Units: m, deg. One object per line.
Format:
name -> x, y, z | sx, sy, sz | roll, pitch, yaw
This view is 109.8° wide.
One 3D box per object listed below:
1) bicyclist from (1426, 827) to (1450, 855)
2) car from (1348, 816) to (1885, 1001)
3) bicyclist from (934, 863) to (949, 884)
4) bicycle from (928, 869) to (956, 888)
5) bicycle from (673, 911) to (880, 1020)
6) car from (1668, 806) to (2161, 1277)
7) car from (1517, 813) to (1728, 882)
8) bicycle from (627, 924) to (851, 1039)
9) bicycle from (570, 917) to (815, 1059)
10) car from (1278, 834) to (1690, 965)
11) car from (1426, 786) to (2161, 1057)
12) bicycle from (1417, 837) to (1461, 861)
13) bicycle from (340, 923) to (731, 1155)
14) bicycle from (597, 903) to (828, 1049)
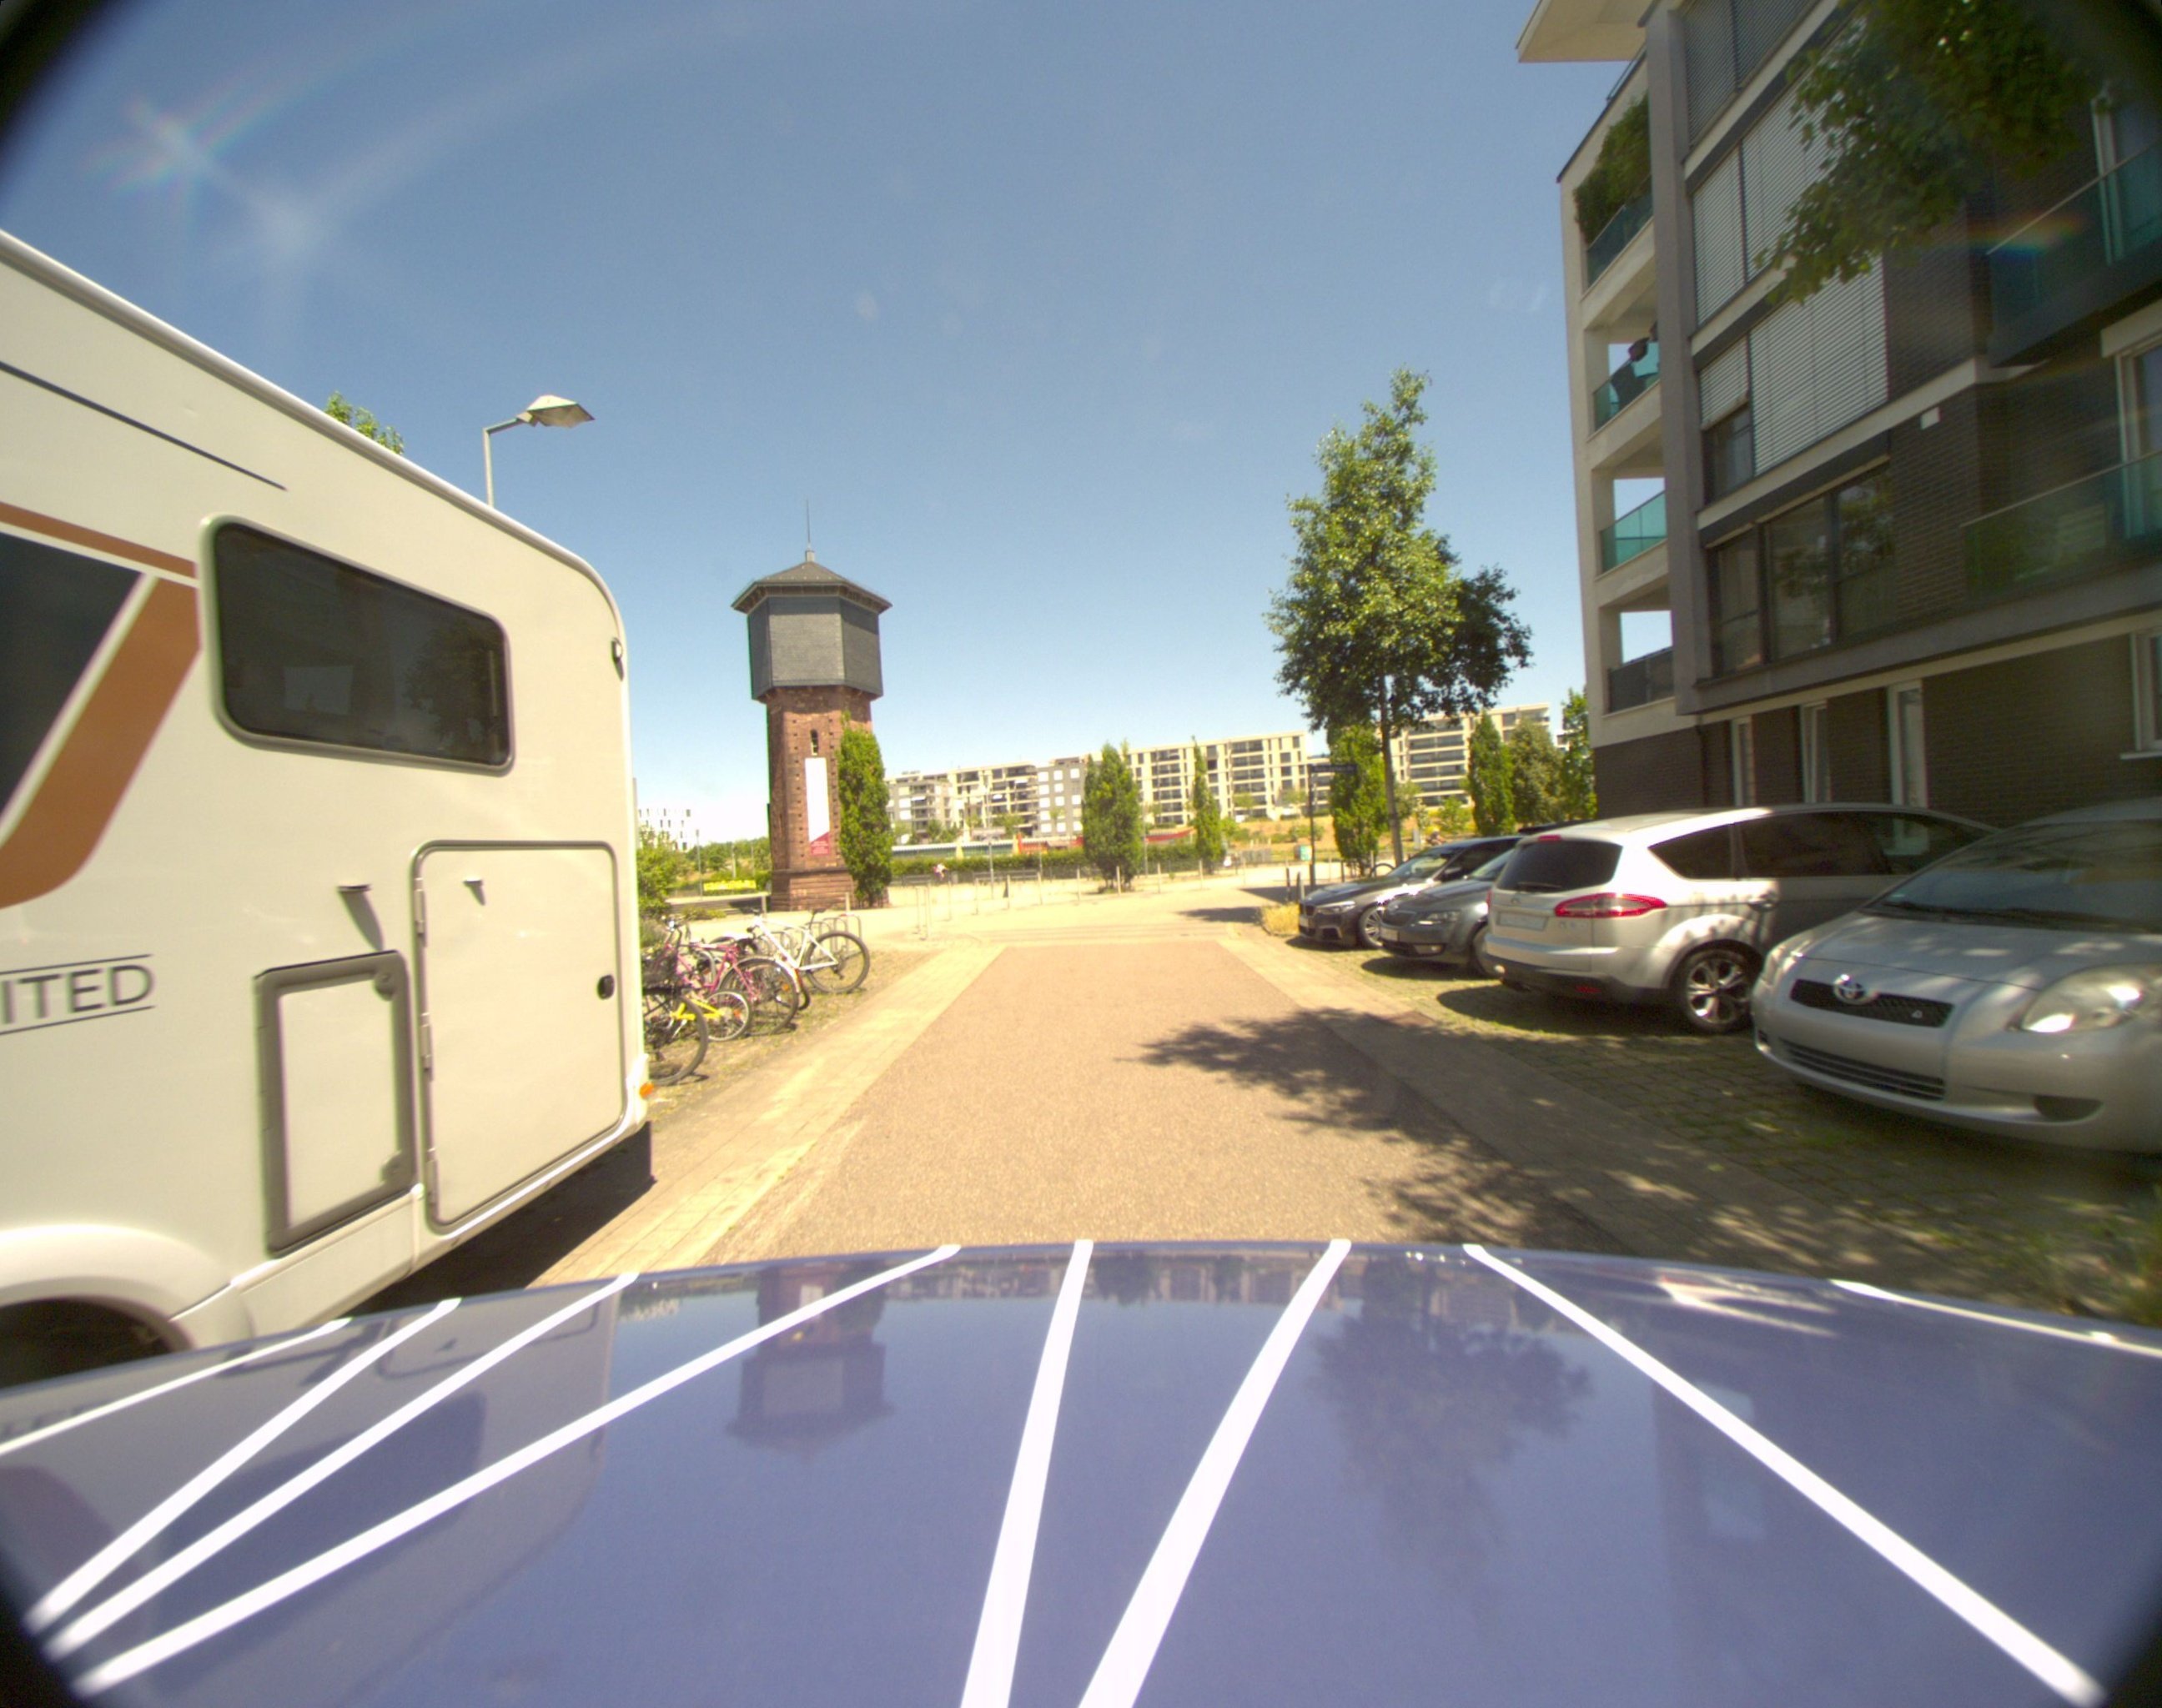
bicyclist -> 18.842, -0.683, 40.151 | 0.881, 1.447, 0.860 | -4, 0, 10
car -> 5.856, 0.546, 8.746 | 4.830, 1.441, 1.827 | -6, 1, -1
bicyclist -> -9.807, 1.372, 53.353 | 0.659, 1.426, 0.734 | -4, 0, 31
bicycle -> -9.726, 1.717, 53.311 | 1.937, 1.192, 0.592 | -4, 0, 31
bicycle -> -3.400, 1.237, 8.704 | 2.033, 0.997, 0.874 | -2, 1, -11
car -> 5.648, 0.542, 3.613 | 4.262, 1.522, 1.822 | -5, 0, -2
car -> 14.391, -0.143, 20.341 | 4.395, 1.510, 1.779 | -3, -1, -4
bicycle -> -3.449, 1.254, 7.747 | 1.856, 0.969, 0.946 | -2, 1, 14
bicycle -> -3.411, 1.172, 6.733 | 1.887, 1.104, 0.476 | -3, 1, 3
car -> 5.791, 0.602, 11.392 | 5.112, 1.476, 1.927 | -4, 1, -1
car -> 5.895, 0.444, 6.326 | 5.041, 1.623, 2.042 | -4, 0, -1
bicycle -> 18.911, -0.261, 40.131 | 1.912, 1.111, 0.799 | -4, 0, 10
bicycle -> -3.476, 1.135, 5.070 | 1.923, 1.215, 0.826 | -1, 0, -14
bicycle -> -3.409, 1.120, 7.110 | 1.854, 1.215, 0.556 | -2, 1, 3
